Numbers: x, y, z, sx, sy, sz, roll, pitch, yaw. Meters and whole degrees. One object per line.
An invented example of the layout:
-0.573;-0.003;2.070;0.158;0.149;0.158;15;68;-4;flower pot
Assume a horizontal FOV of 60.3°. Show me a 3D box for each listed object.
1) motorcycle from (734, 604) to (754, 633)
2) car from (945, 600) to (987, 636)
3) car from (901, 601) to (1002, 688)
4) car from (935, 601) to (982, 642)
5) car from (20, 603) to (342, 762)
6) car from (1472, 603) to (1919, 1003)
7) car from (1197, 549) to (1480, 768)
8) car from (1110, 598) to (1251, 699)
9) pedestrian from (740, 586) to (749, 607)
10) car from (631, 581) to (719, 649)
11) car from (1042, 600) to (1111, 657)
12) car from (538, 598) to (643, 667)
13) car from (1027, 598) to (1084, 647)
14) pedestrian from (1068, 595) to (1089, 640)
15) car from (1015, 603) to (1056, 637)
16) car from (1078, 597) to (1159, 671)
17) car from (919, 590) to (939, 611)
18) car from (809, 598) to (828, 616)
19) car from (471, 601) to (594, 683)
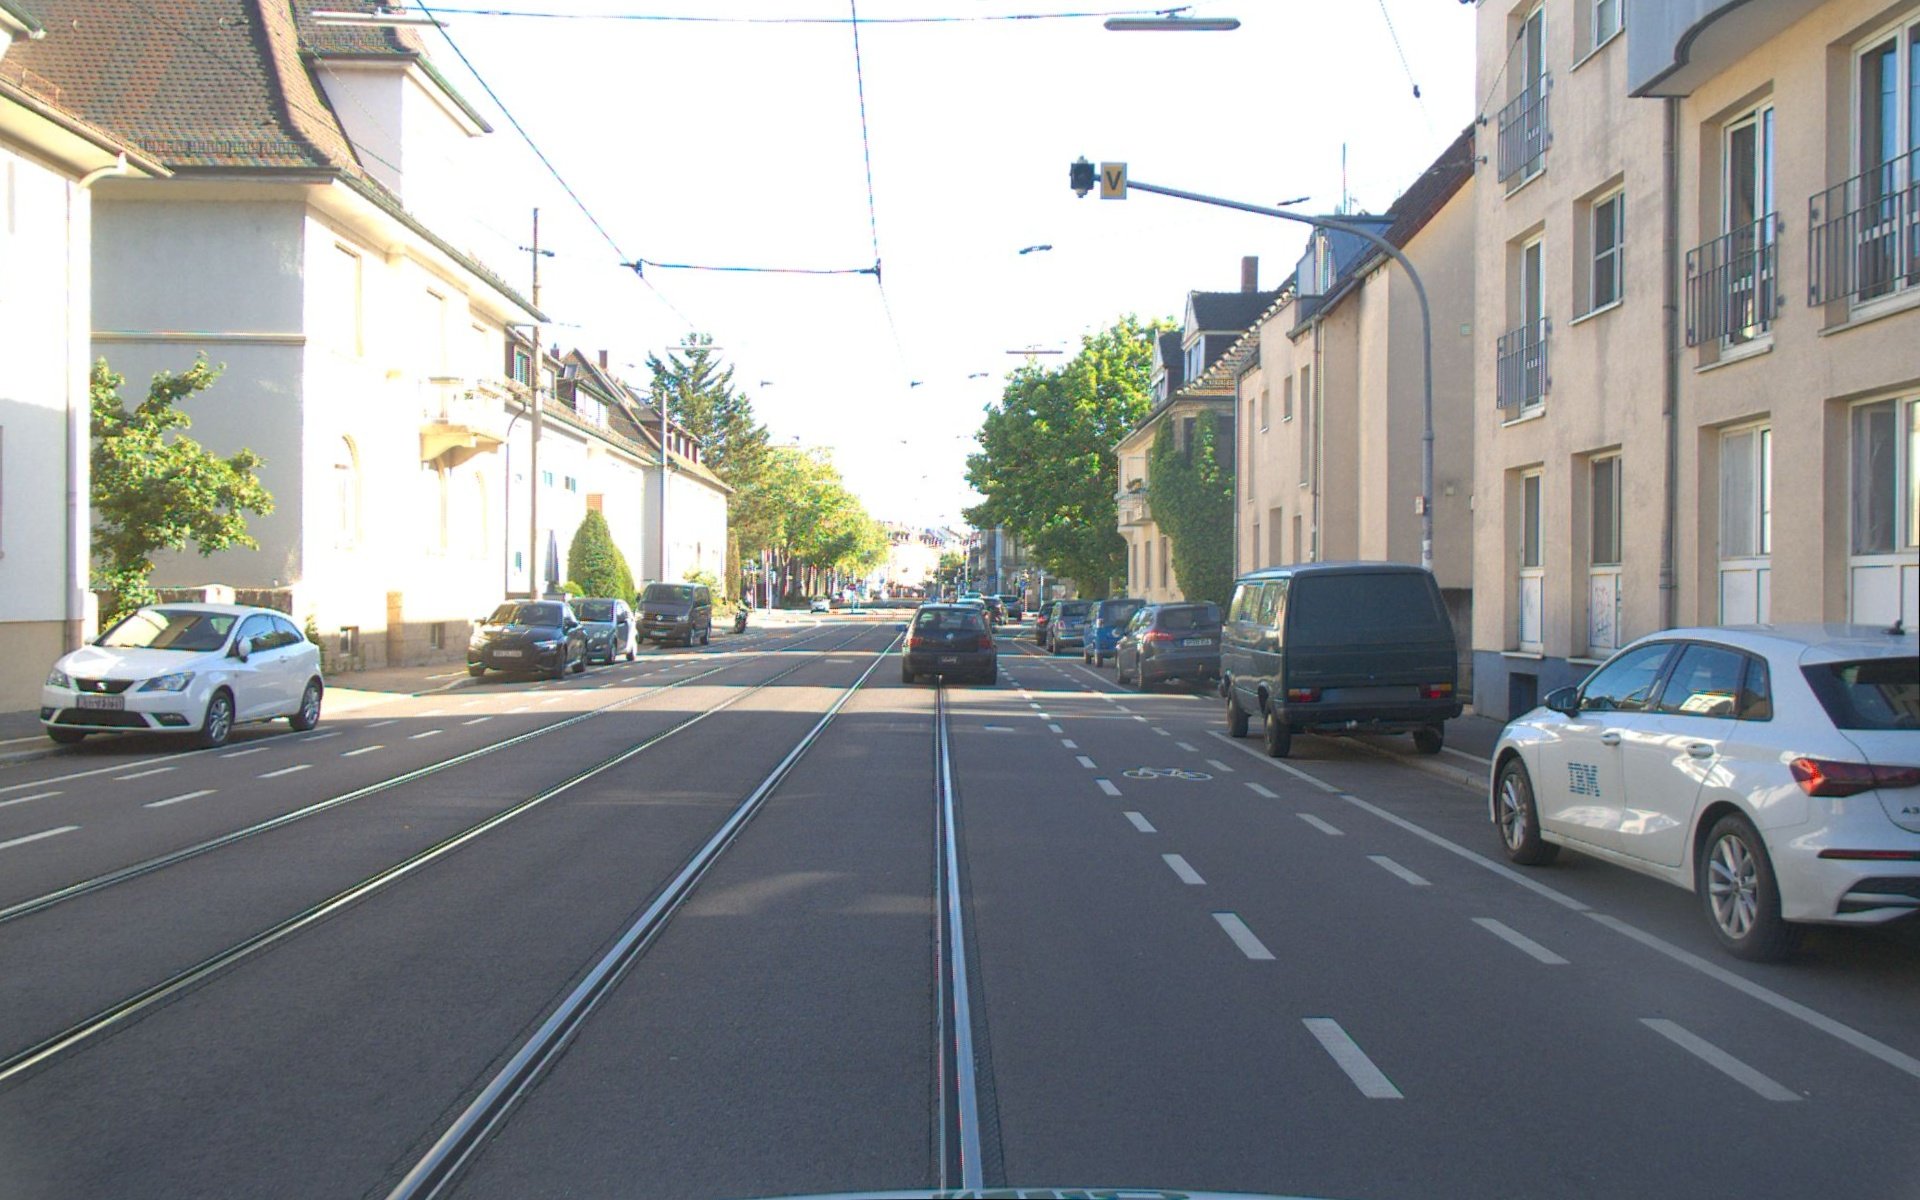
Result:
-9.013;0.758;68.962;0.525;1.183;2.171;-1;0;-1;motorcycle
0.230;0.741;70.574;1.704;1.466;3.809;0;0;-1;car
-0.169;0.769;30.370;1.681;1.427;4.005;2;0;-1;car
-0.047;0.741;58.719;1.601;1.396;3.757;0;0;0;car
-8.211;0.789;17.851;1.598;1.483;4.015;-1;0;-1;car
4.179;0.815;8.537;1.643;1.517;4.171;2;0;-2;car
3.919;0.547;17.974;1.867;2.022;4.561;2;0;-2;car
3.876;0.805;29.769;1.709;1.627;4.431;2;0;-3;car
-18.215;-0.272;139.701;0.600;1.719;0.729;3;0;-19;pedestrian
-9.124;0.446;53.320;1.867;2.049;4.949;2;0;0;car
3.348;0.795;48.102;1.569;1.552;3.547;2;0;-3;car
-8.726;0.736;39.357;1.642;1.503;3.834;2;0;-1;car
3.237;0.744;56.558;1.632;1.591;3.770;1;0;-1;car
4.647;0.682;65.057;0.703;1.717;0.870;-1;0;-2;pedestrian
3.453;0.888;75.920;1.538;1.334;3.646;0;3;-3;car
3.738;0.772;39.478;1.428;1.627;3.292;2;0;-3;car
-3.060;0.026;162.069;1.751;1.892;3.998;3;0;-2;car
-11.587;0.564;135.262;1.544;1.503;3.436;-1;0;-6;car
-8.386;0.777;32.766;1.630;1.503;4.246;0;0;-5;car
